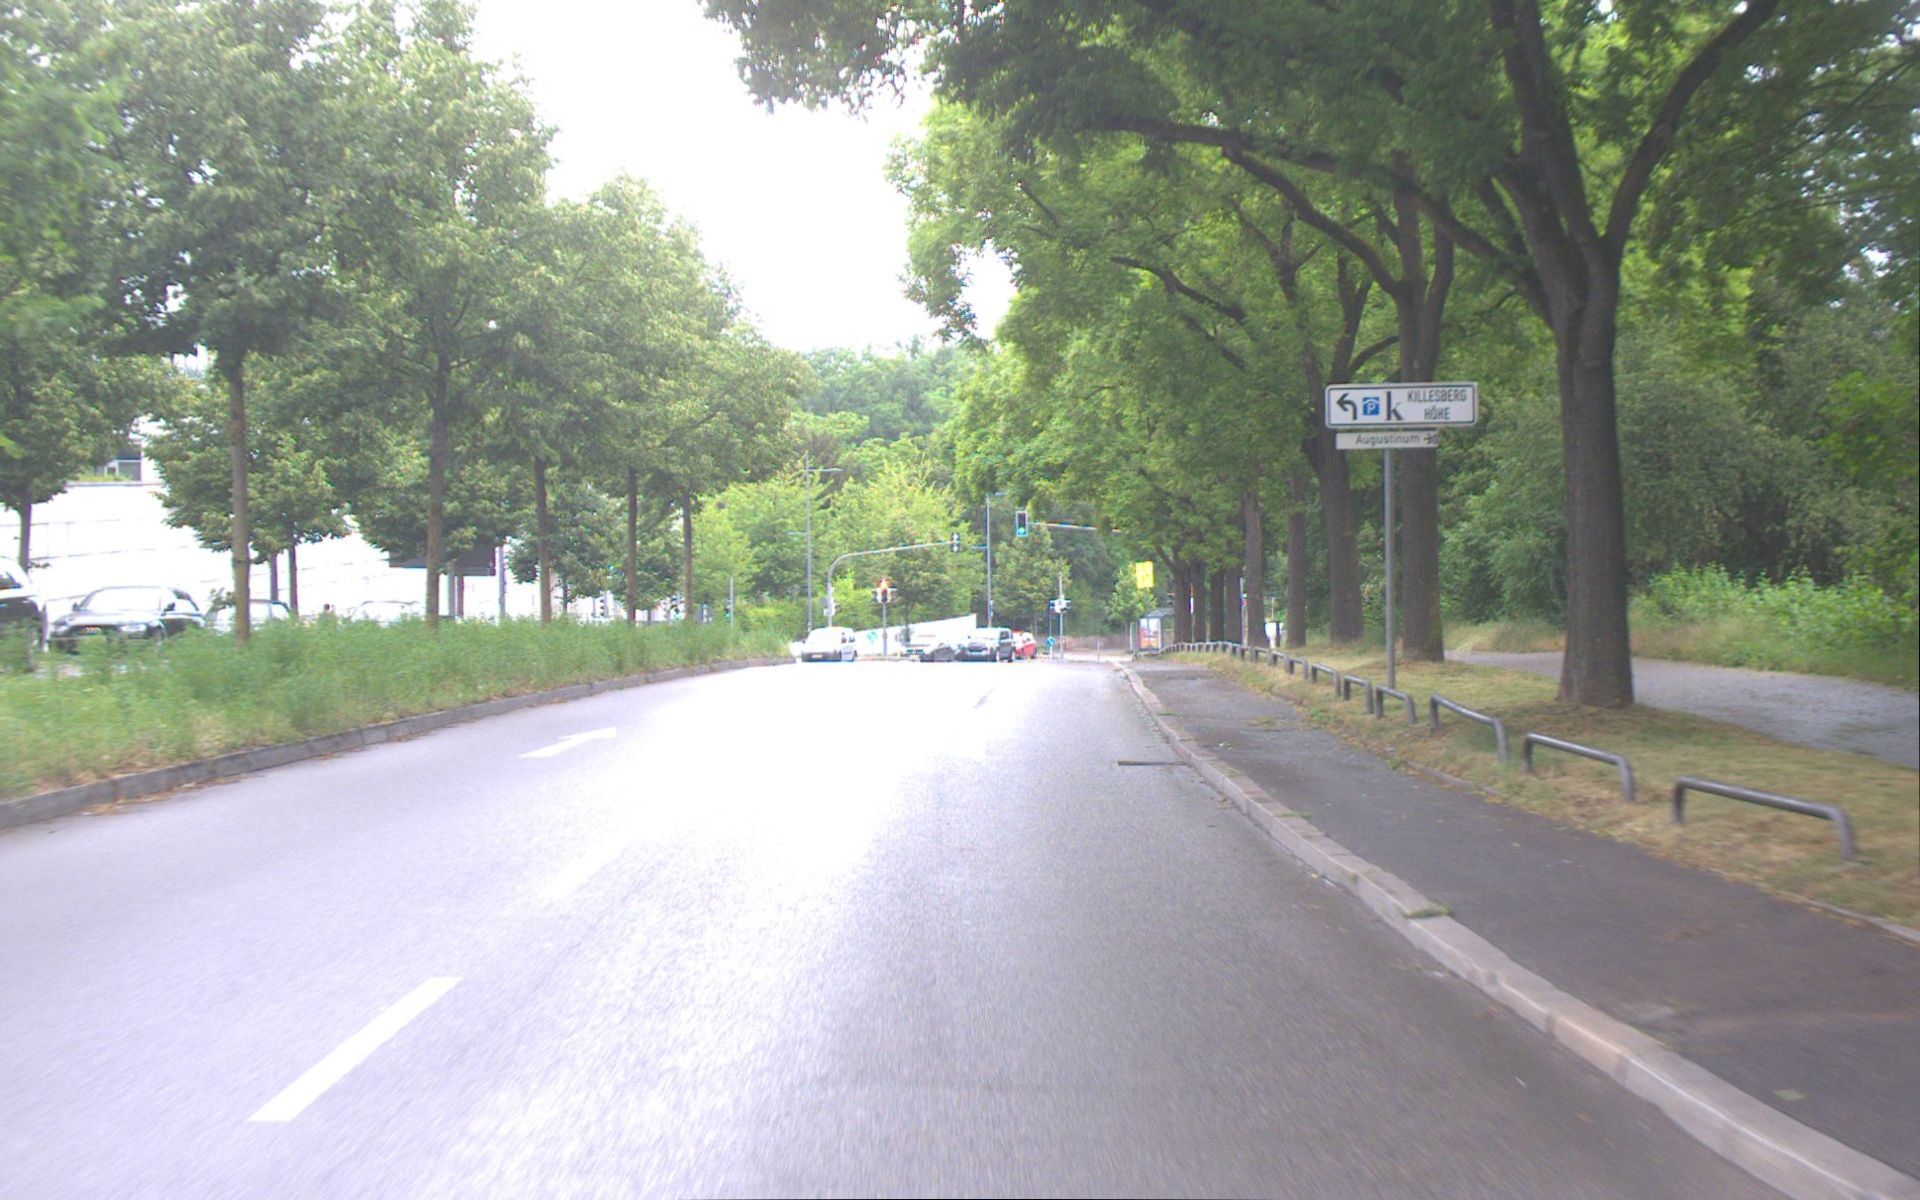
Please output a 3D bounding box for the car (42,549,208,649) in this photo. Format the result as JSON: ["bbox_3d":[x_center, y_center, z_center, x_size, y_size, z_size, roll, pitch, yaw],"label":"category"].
[{"bbox_3d":[-14.191,-0.042,58.635,1.695,1.576,4.017,0,2,2],"label":"car"}]

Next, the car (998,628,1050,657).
[{"bbox_3d":[3.722,2.471,198.580,1.876,1.569,4.219,2,0,17],"label":"car"}]

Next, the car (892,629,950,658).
[{"bbox_3d":[-1.933,2.158,172.749,1.771,1.376,4.187,-2,-1,16],"label":"car"}]

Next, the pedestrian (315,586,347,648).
[{"bbox_3d":[-18.226,0.505,99.632,0.708,1.768,1.021,-1,-1,2],"label":"pedestrian"}]

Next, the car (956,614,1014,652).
[{"bbox_3d":[1.344,1.758,184.135,1.922,1.851,4.503,-5,-1,15],"label":"car"}]

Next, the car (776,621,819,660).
[{"bbox_3d":[-7.473,1.863,158.374,1.710,1.740,4.337,-1,-1,1],"label":"car"}]

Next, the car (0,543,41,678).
[{"bbox_3d":[-12.166,0.141,40.163,1.695,1.576,4.017,0,1,1],"label":"car"}]

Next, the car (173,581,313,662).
[{"bbox_3d":[-13.978,0.394,67.234,1.695,1.439,3.859,1,2,4],"label":"car"}]
